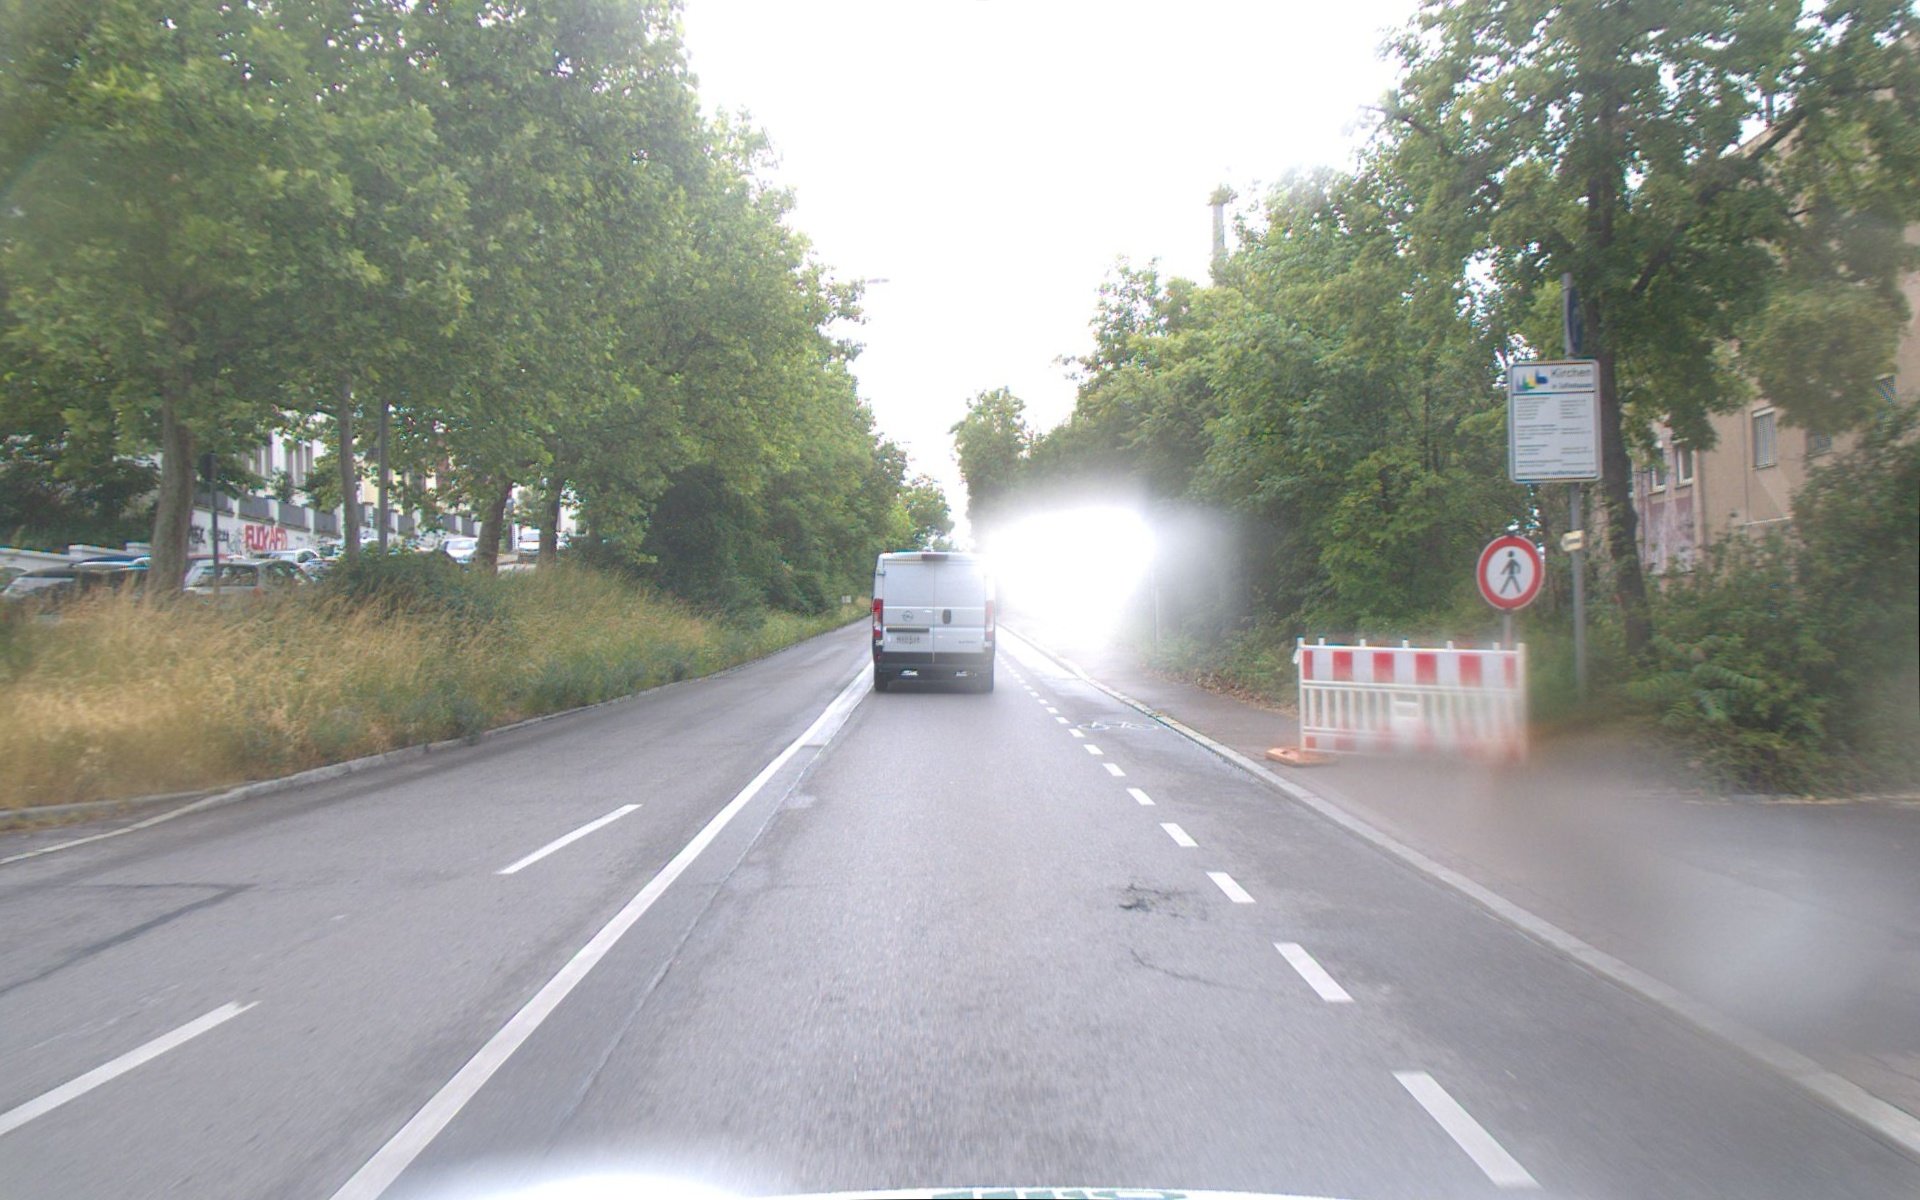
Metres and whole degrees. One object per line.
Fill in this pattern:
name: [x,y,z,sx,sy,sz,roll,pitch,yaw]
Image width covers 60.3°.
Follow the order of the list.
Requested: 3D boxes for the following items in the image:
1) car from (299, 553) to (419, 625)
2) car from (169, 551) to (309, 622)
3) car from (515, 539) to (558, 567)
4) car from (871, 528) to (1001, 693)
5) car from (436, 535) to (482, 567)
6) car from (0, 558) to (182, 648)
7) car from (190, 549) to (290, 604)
car: [-12.638,-0.195,34.955,1.406,1.385,3.173,-2,-1,-1]
car: [-12.543,-0.211,28.904,1.323,1.115,2.751,-2,-1,-3]
car: [-21.617,-2.385,84.464,1.568,1.272,2.908,-2,-1,-4]
car: [-0.397,0.128,28.757,2.008,2.560,4.943,2,1,0]
car: [-20.663,-1.997,68.282,1.189,1.153,2.452,-2,-1,-1]
car: [-12.180,0.078,23.193,1.323,1.150,2.751,-2,-1,-3]
car: [-19.342,-0.606,44.552,1.332,1.333,3.085,-2,-1,-1]
